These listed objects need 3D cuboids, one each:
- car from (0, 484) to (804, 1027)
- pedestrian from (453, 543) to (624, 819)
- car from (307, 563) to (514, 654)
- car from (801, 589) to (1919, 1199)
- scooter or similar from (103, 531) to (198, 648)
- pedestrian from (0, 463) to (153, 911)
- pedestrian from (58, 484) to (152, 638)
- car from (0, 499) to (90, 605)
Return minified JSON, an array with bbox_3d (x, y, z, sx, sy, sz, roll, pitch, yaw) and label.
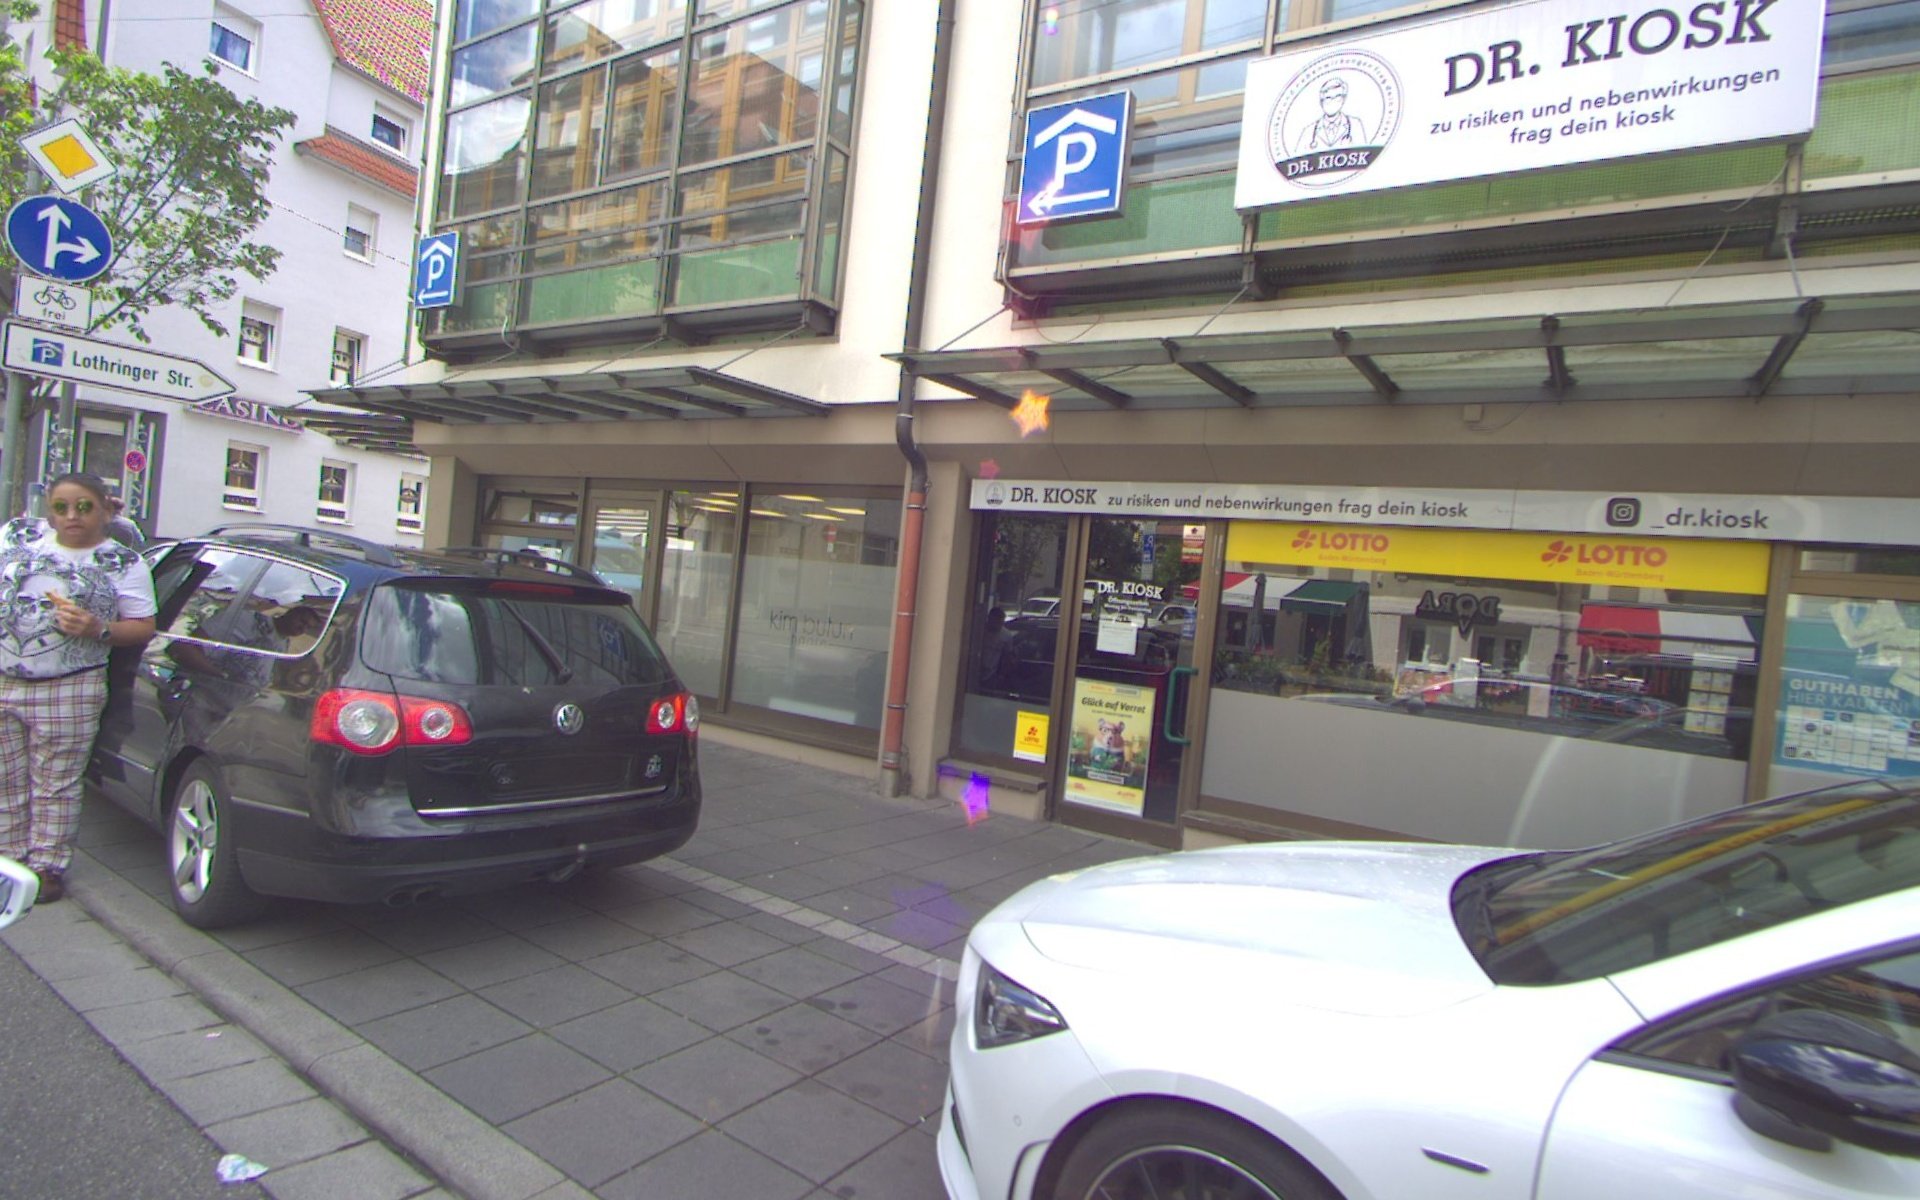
[{"bbox_3d":[-3.038,0.368,4.888,4.481,1.471,1.715,6,-1,36],"label":"car"},{"bbox_3d":[-2.589,0.494,6.210,0.470,1.580,0.660,6,-1,35],"label":"pedestrian"},{"bbox_3d":[-13.040,0.263,24.131,1.817,1.412,3.898,6,-6,26],"label":"car"},{"bbox_3d":[2.056,0.978,1.786,4.463,1.462,1.853,6,-1,34],"label":"car"},{"bbox_3d":[-9.808,-0.139,12.183,1.229,1.295,0.431,6,-1,34],"label":"scooter or similar"},{"bbox_3d":[-3.615,0.316,3.884,0.580,1.618,0.543,7,-1,-35],"label":"pedestrian"},{"bbox_3d":[-10.124,-0.455,11.915,0.473,1.723,0.572,6,-1,31],"label":"pedestrian"},{"bbox_3d":[-16.063,-0.937,15.453,1.514,1.547,3.748,6,-3,37],"label":"car"}]
